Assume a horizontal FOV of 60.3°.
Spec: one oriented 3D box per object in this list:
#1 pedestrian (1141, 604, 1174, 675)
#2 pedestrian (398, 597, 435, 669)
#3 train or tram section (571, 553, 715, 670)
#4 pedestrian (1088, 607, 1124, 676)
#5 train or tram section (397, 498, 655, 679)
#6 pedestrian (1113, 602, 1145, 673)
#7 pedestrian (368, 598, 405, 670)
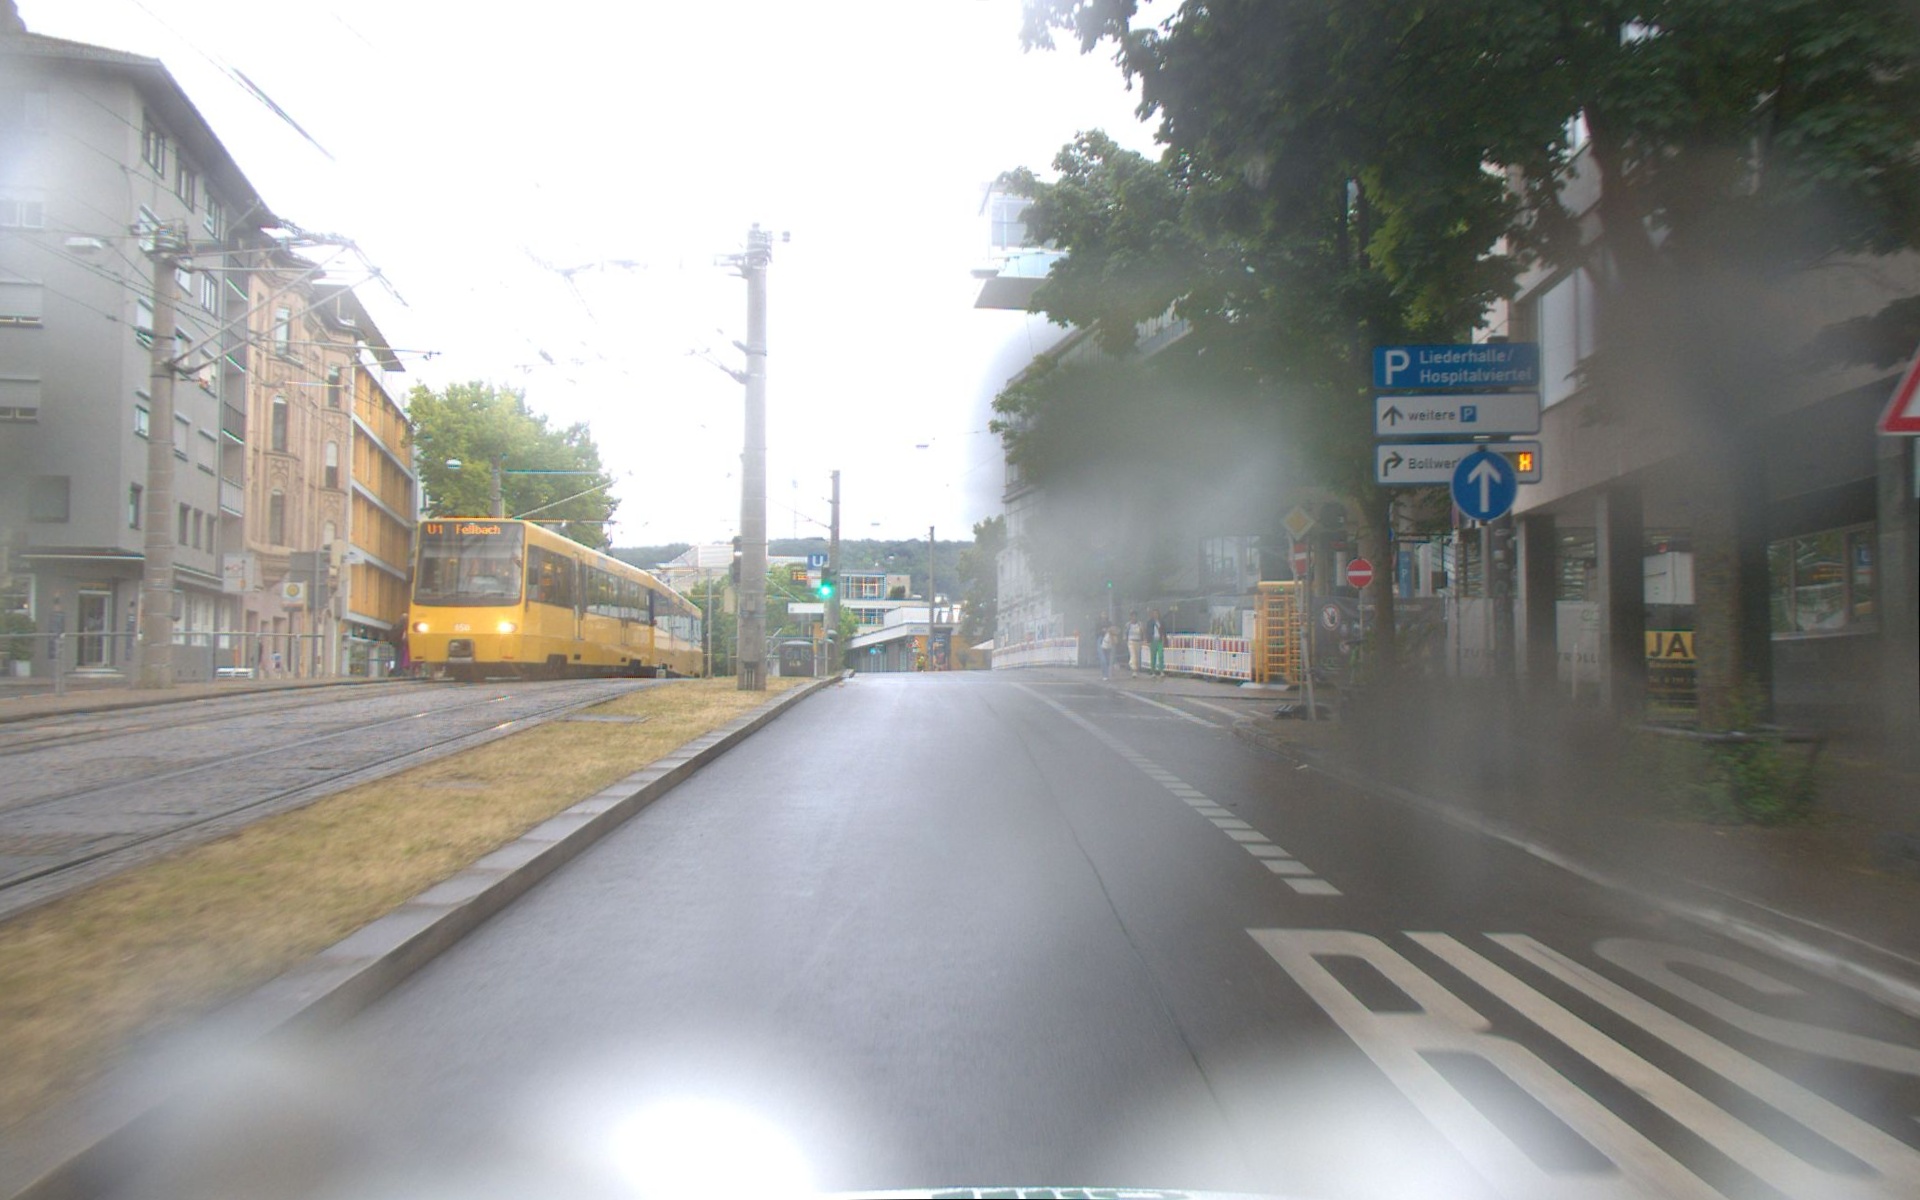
[{"bbox_3d":[5.159,1.022,43.231,0.686,1.816,1.066,0,-1,-4],"label":"pedestrian"},{"bbox_3d":[-14.014,0.849,42.657,0.717,1.822,0.696,0,0,-3],"label":"pedestrian"},{"bbox_3d":[-11.646,0.694,62.957,2.691,3.762,18.956,1,-2,-3],"label":"train or tram section"},{"bbox_3d":[3.728,1.050,42.296,0.722,1.760,1.117,0,-1,-4],"label":"pedestrian"},{"bbox_3d":[-10.800,0.070,44.010,2.691,3.762,18.956,1,-2,-3],"label":"train or tram section"},{"bbox_3d":[4.427,0.980,43.356,0.686,1.847,0.976,0,-1,-4],"label":"pedestrian"},{"bbox_3d":[-14.786,0.876,42.681,0.717,1.822,0.696,0,0,-3],"label":"pedestrian"}]
